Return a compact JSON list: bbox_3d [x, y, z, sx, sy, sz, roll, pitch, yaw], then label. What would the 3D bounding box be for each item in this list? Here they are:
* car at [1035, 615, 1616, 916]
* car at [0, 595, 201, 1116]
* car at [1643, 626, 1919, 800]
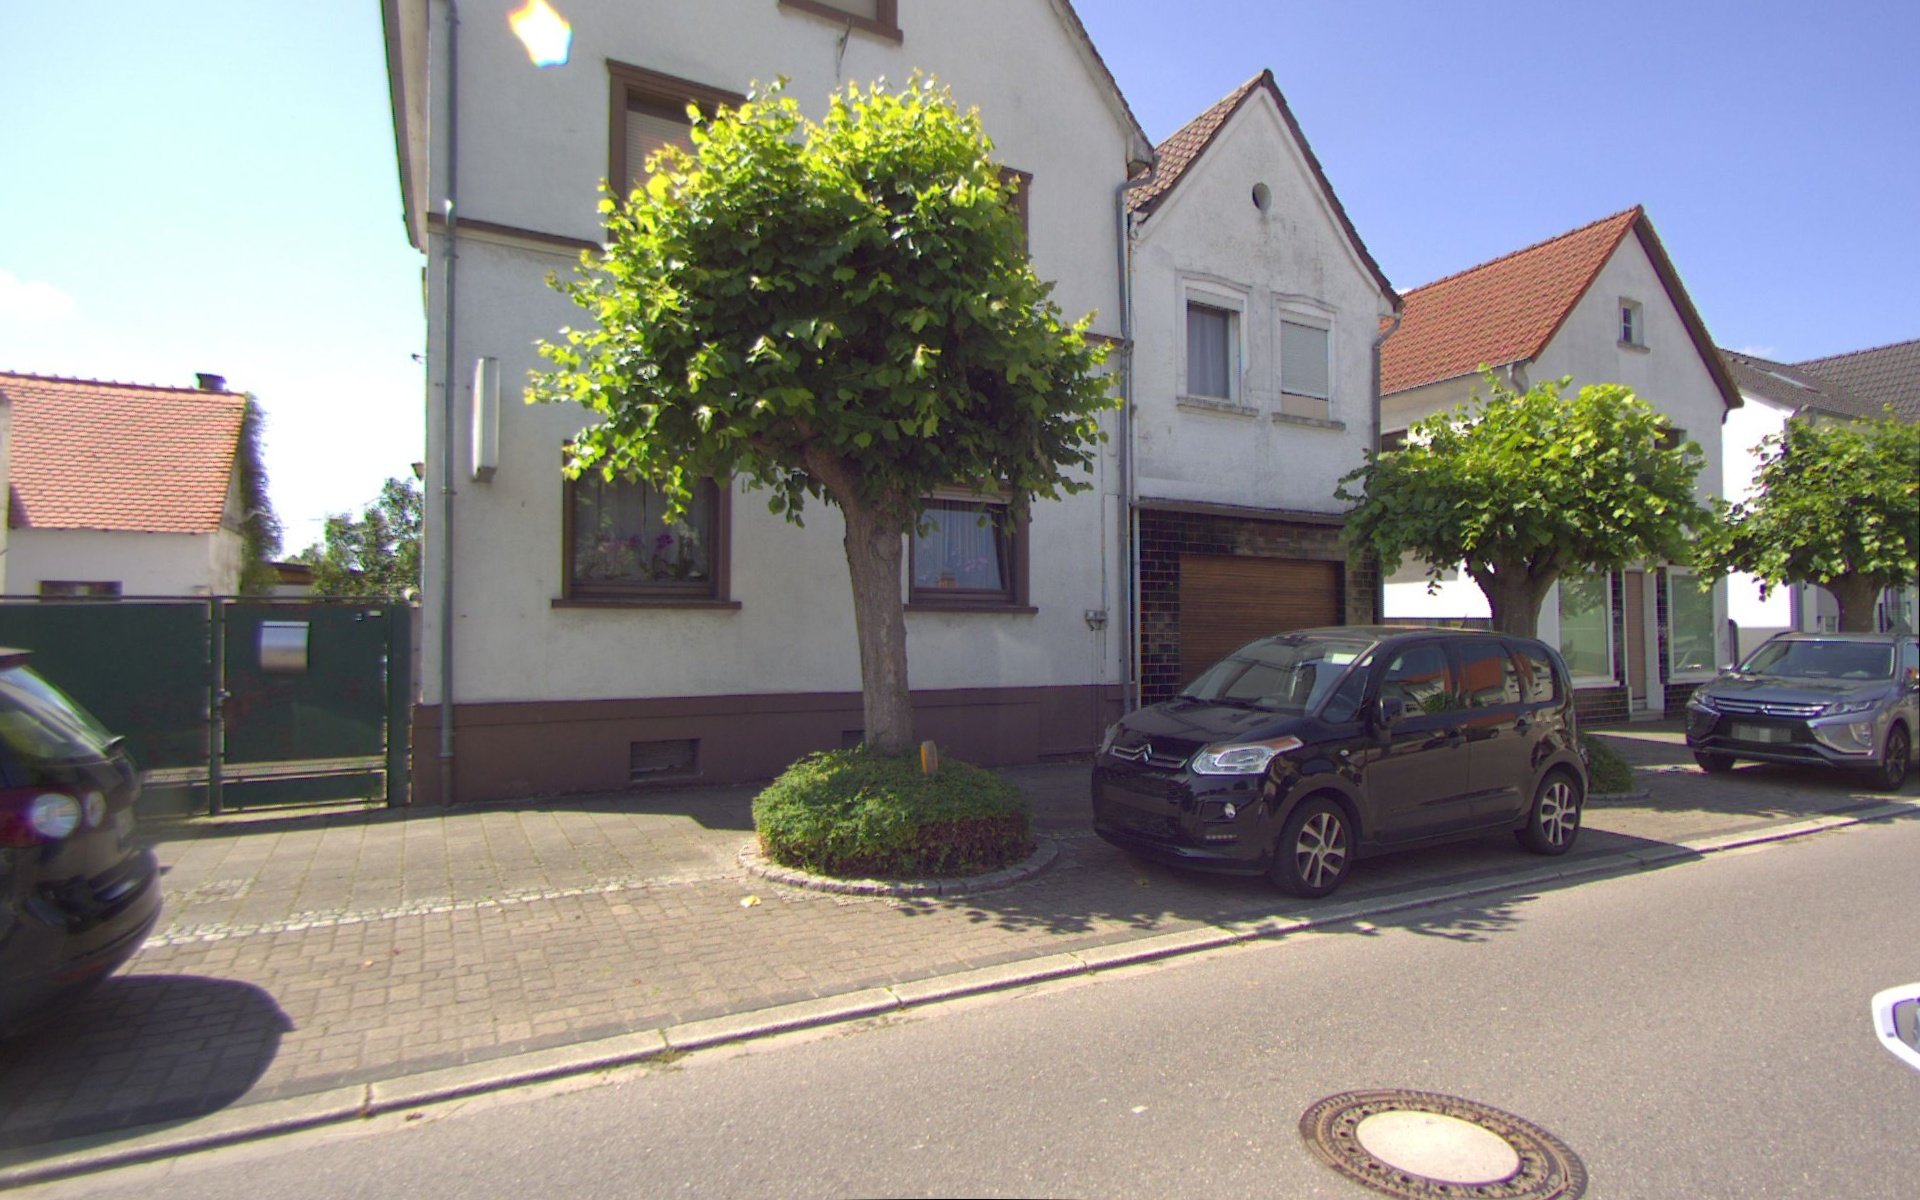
[{"bbox_3d":[2.738,0.987,7.378,4.008,1.657,1.845,2,-1,-29],"label":"car"},{"bbox_3d":[-4.850,0.780,3.023,3.960,1.655,1.774,2,-2,-35],"label":"car"},{"bbox_3d":[10.296,1.196,12.015,4.320,1.674,1.982,1,0,-33],"label":"car"}]
